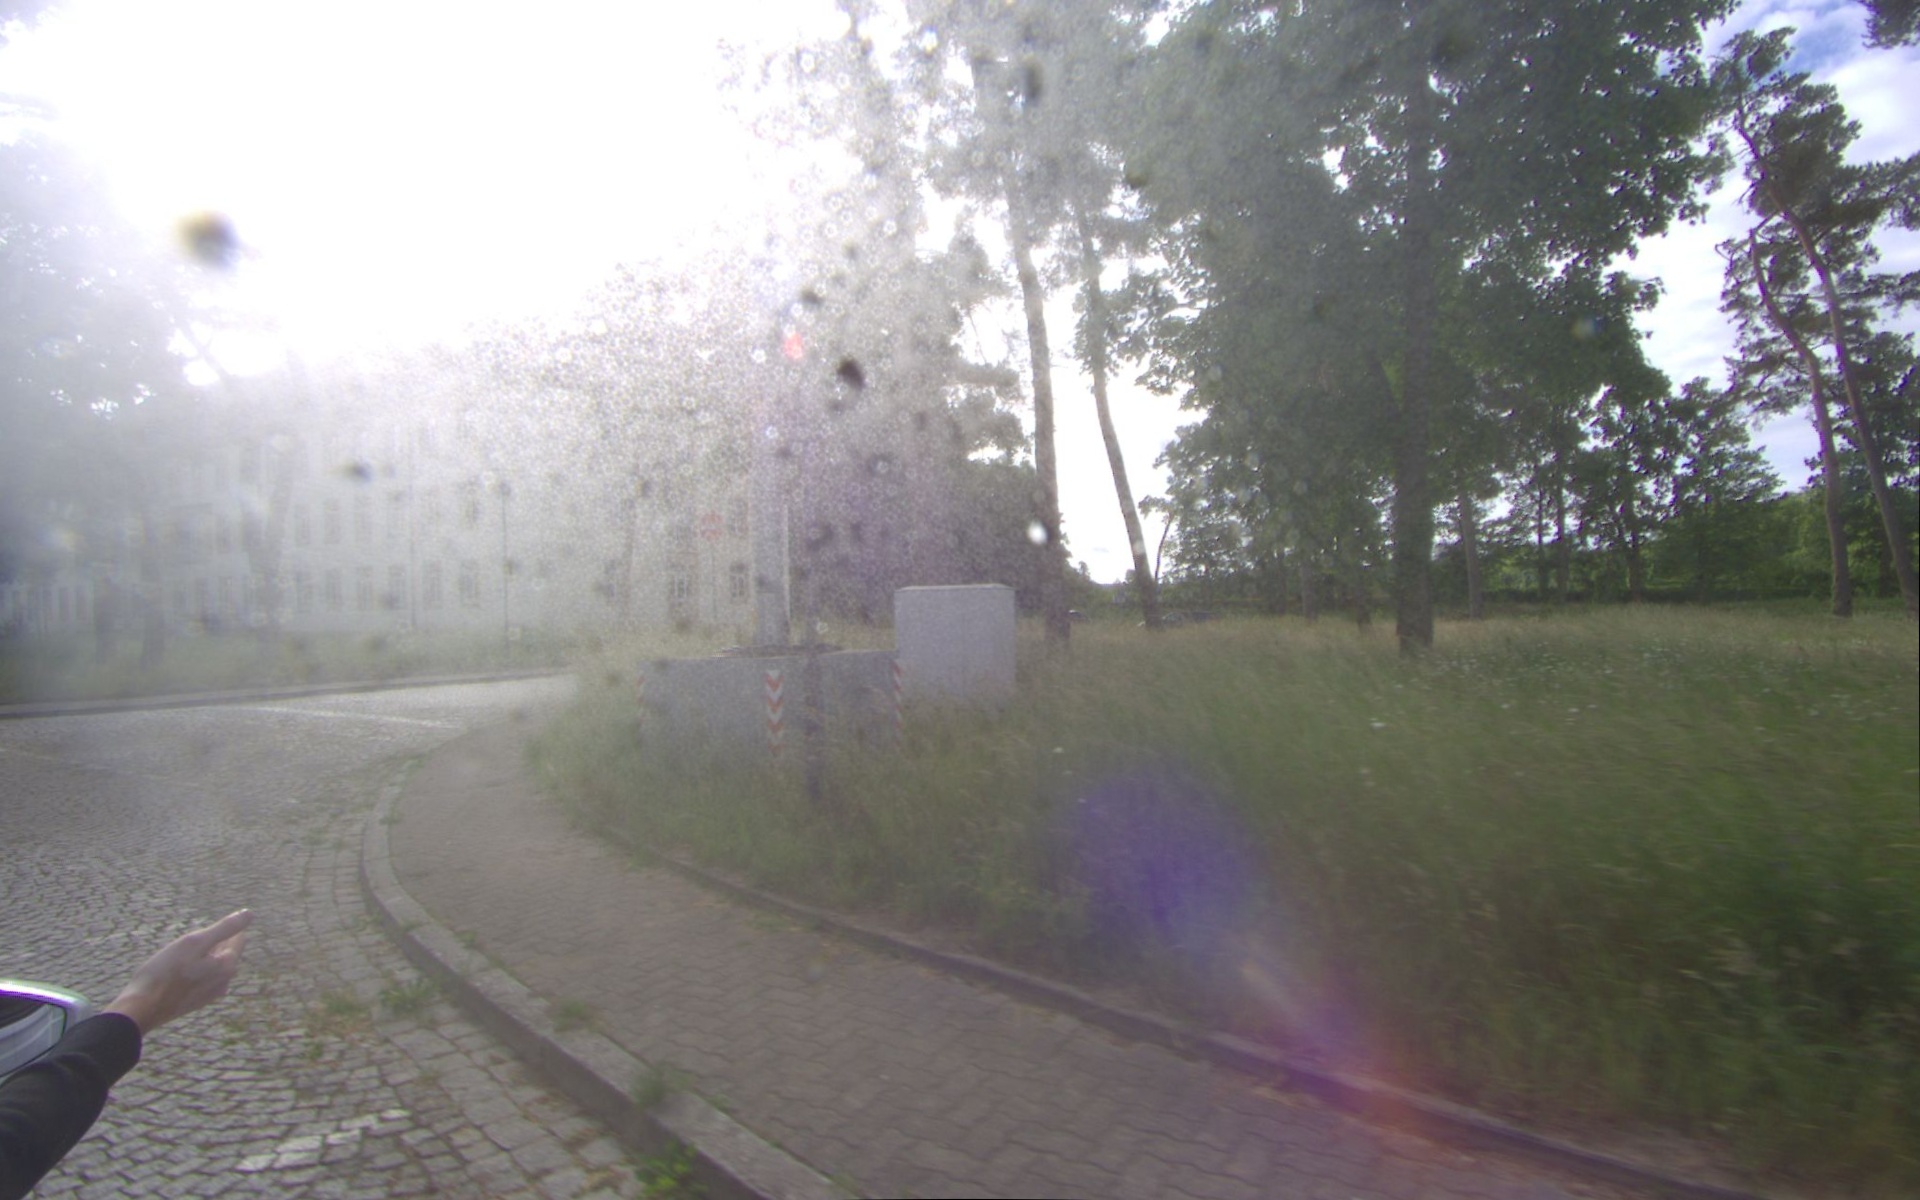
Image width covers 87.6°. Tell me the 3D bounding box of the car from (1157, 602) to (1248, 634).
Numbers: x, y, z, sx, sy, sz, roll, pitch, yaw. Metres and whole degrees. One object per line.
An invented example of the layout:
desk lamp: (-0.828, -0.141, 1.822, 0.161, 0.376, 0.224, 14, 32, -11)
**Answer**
car: (13.037, 0.972, 53.837, 4.383, 1.607, 1.991, -1, 0, 30)

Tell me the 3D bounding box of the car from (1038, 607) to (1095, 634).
car: (6.512, 1.207, 60.922, 1.971, 1.553, 3.979, -1, 0, 32)

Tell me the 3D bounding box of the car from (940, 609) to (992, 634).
car: (0.437, 1.366, 65.440, 1.748, 1.553, 3.675, -1, 0, 32)
